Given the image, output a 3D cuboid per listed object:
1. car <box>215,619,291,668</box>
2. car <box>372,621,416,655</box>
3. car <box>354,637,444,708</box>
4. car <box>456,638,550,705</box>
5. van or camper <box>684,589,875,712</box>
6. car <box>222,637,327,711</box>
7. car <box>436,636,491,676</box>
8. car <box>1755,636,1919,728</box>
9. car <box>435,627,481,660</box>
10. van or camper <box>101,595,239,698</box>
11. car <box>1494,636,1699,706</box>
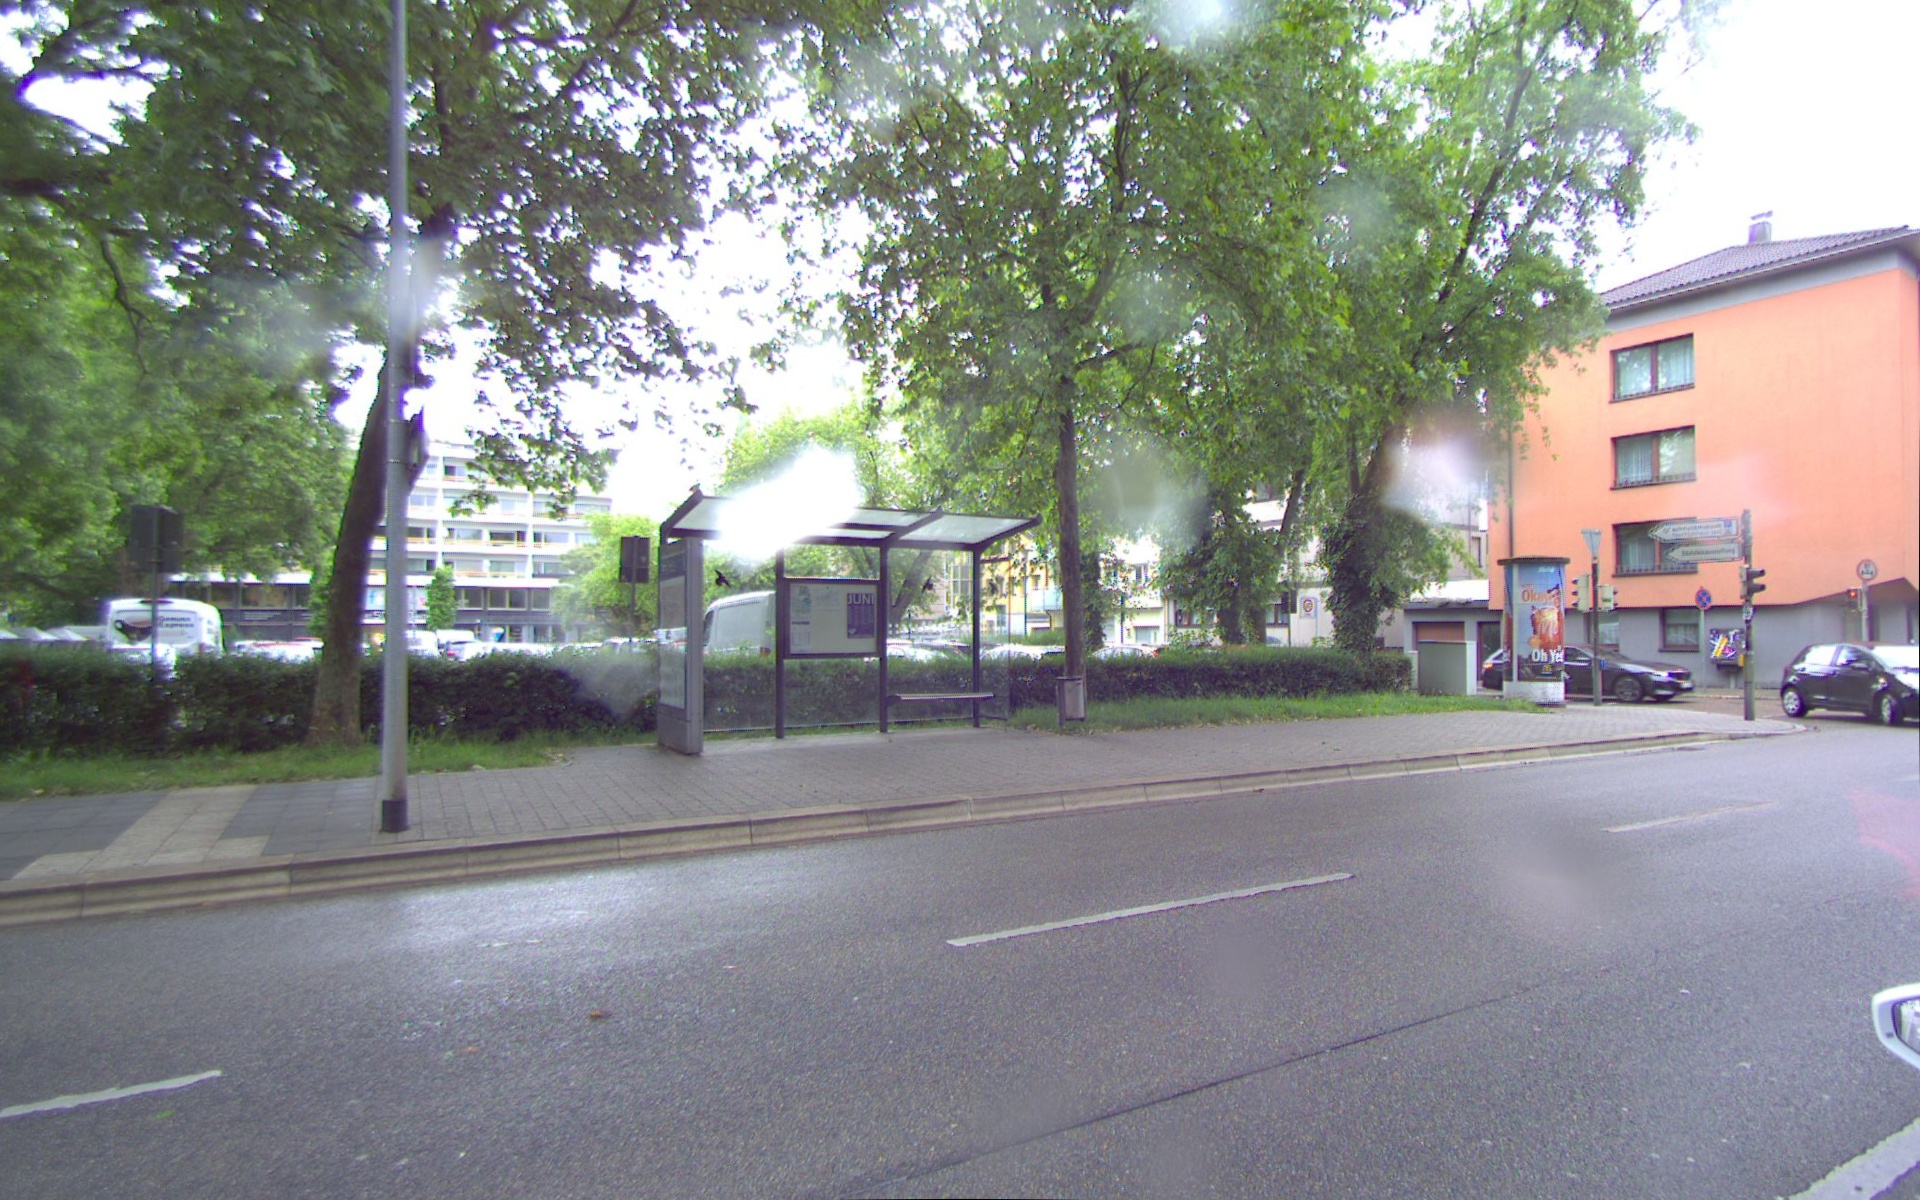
[{"bbox_3d":[-25.071,1.512,35.735,1.876,1.506,3.966,2,0,-31],"label":"car"},{"bbox_3d":[-32.499,2.143,57.608,2.075,1.745,3.966,2,0,-31],"label":"car"},{"bbox_3d":[-14.625,1.825,26.115,1.876,1.506,3.966,2,0,-31],"label":"car"},{"bbox_3d":[-12.531,1.888,27.407,1.876,1.506,3.966,2,0,-31],"label":"car"},{"bbox_3d":[-3.477,0.887,18.600,1.978,1.975,4.572,1,-2,-31],"label":"van or camper"},{"bbox_3d":[-16.874,1.757,24.897,1.876,1.506,3.966,2,0,-31],"label":"car"},{"bbox_3d":[-22.129,2.453,44.685,1.876,1.506,3.966,2,0,-31],"label":"car"},{"bbox_3d":[17.391,1.481,19.015,1.765,1.553,3.870,-1,-3,4],"label":"car"},{"bbox_3d":[-26.988,2.309,53.938,1.876,1.506,3.966,2,0,-31],"label":"car"},{"bbox_3d":[-20.656,1.204,26.476,2.073,2.463,4.310,1,-2,-28],"label":"van or camper"},{"bbox_3d":[16.768,1.831,26.648,1.712,1.700,4.268,1,-3,-37],"label":"car"}]
